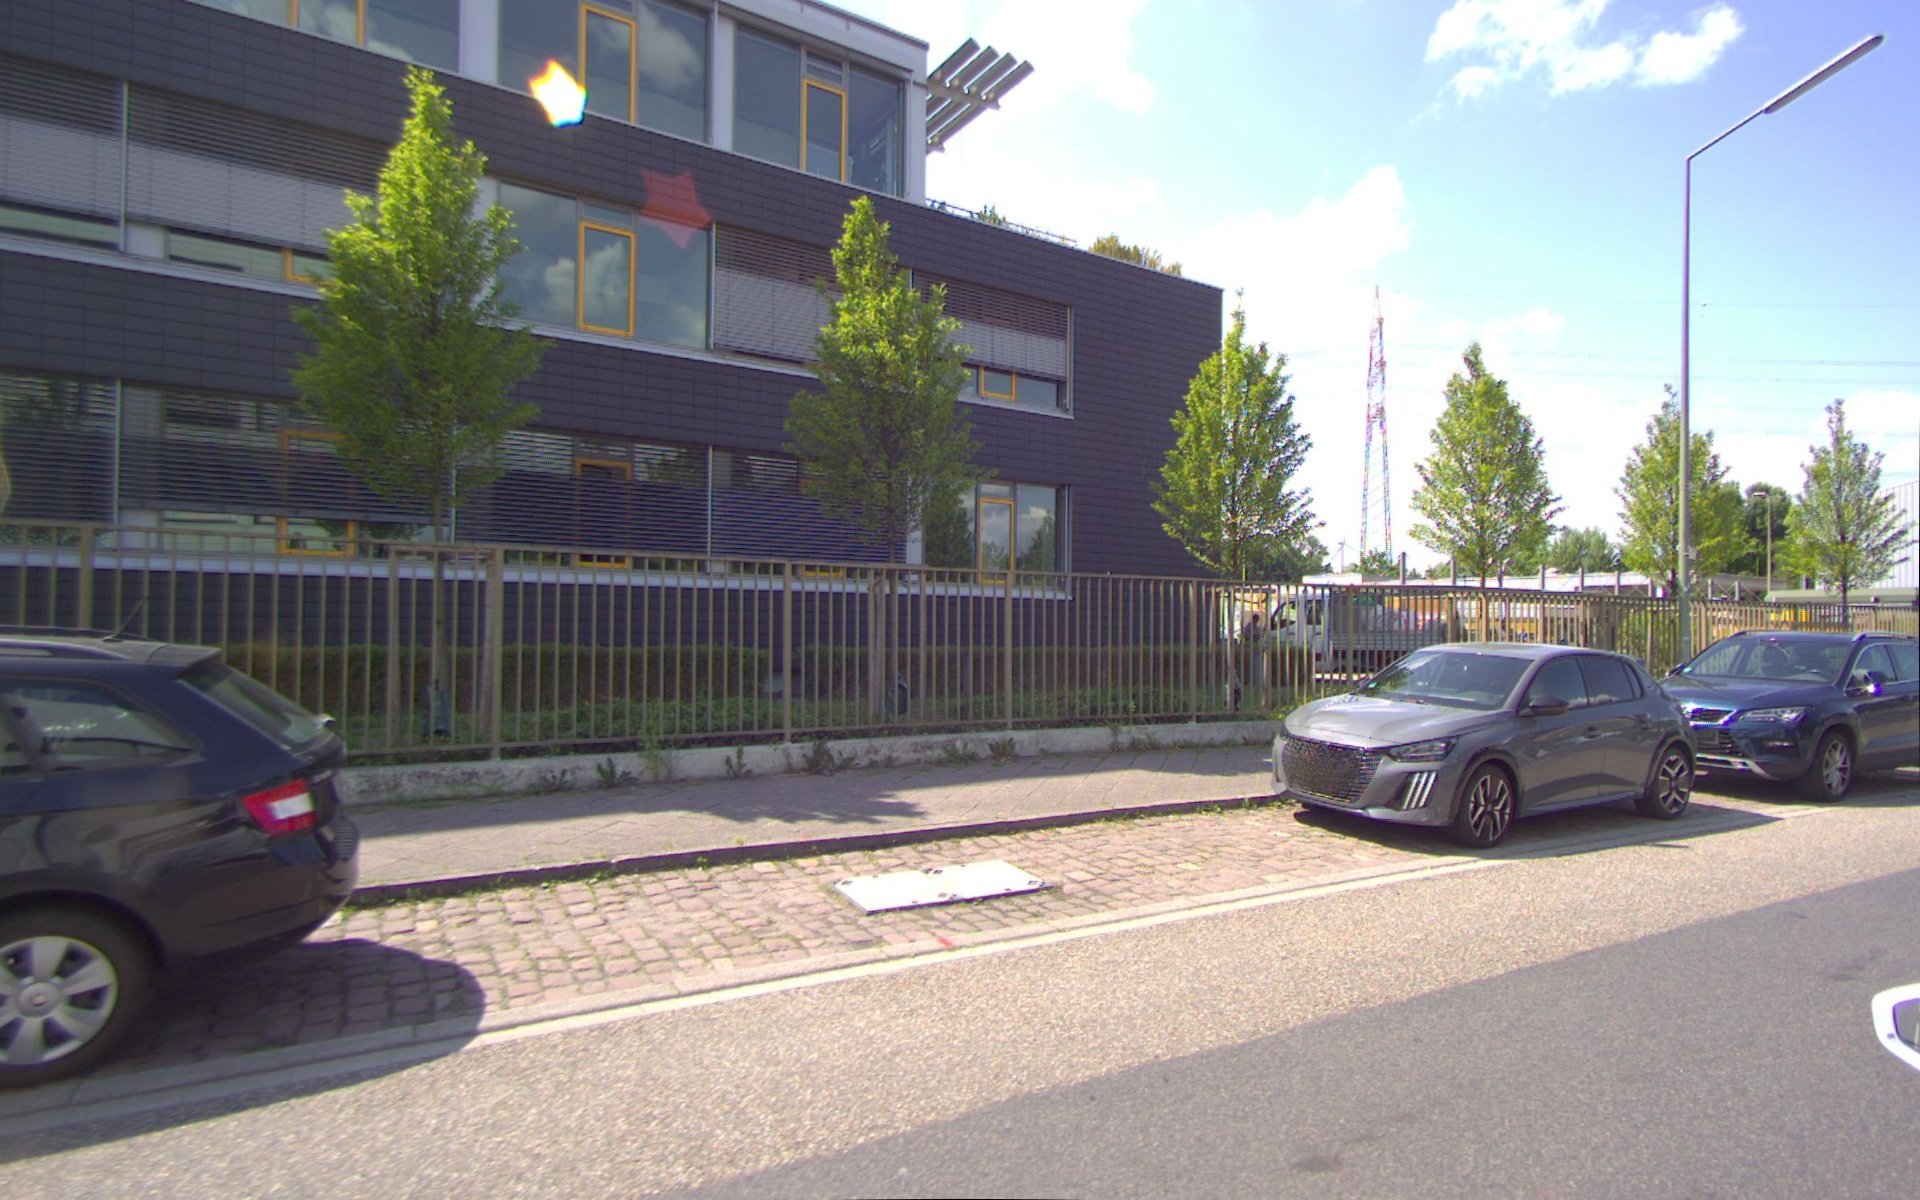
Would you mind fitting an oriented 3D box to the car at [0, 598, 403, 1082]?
[{"bbox_3d":[-4.255,0.763,3.509,3.956,1.550,1.652,1,0,-32],"label":"car"}]

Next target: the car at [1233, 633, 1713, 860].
[{"bbox_3d":[4.384,1.072,8.493,3.882,1.464,1.726,2,0,-29],"label":"car"}]

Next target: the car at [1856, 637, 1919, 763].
[{"bbox_3d":[13.284,1.285,12.892,3.032,1.543,1.604,2,-1,-25],"label":"car"}]

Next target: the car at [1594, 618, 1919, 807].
[{"bbox_3d":[8.927,1.078,10.724,4.255,1.678,1.727,2,-1,-27],"label":"car"}]
